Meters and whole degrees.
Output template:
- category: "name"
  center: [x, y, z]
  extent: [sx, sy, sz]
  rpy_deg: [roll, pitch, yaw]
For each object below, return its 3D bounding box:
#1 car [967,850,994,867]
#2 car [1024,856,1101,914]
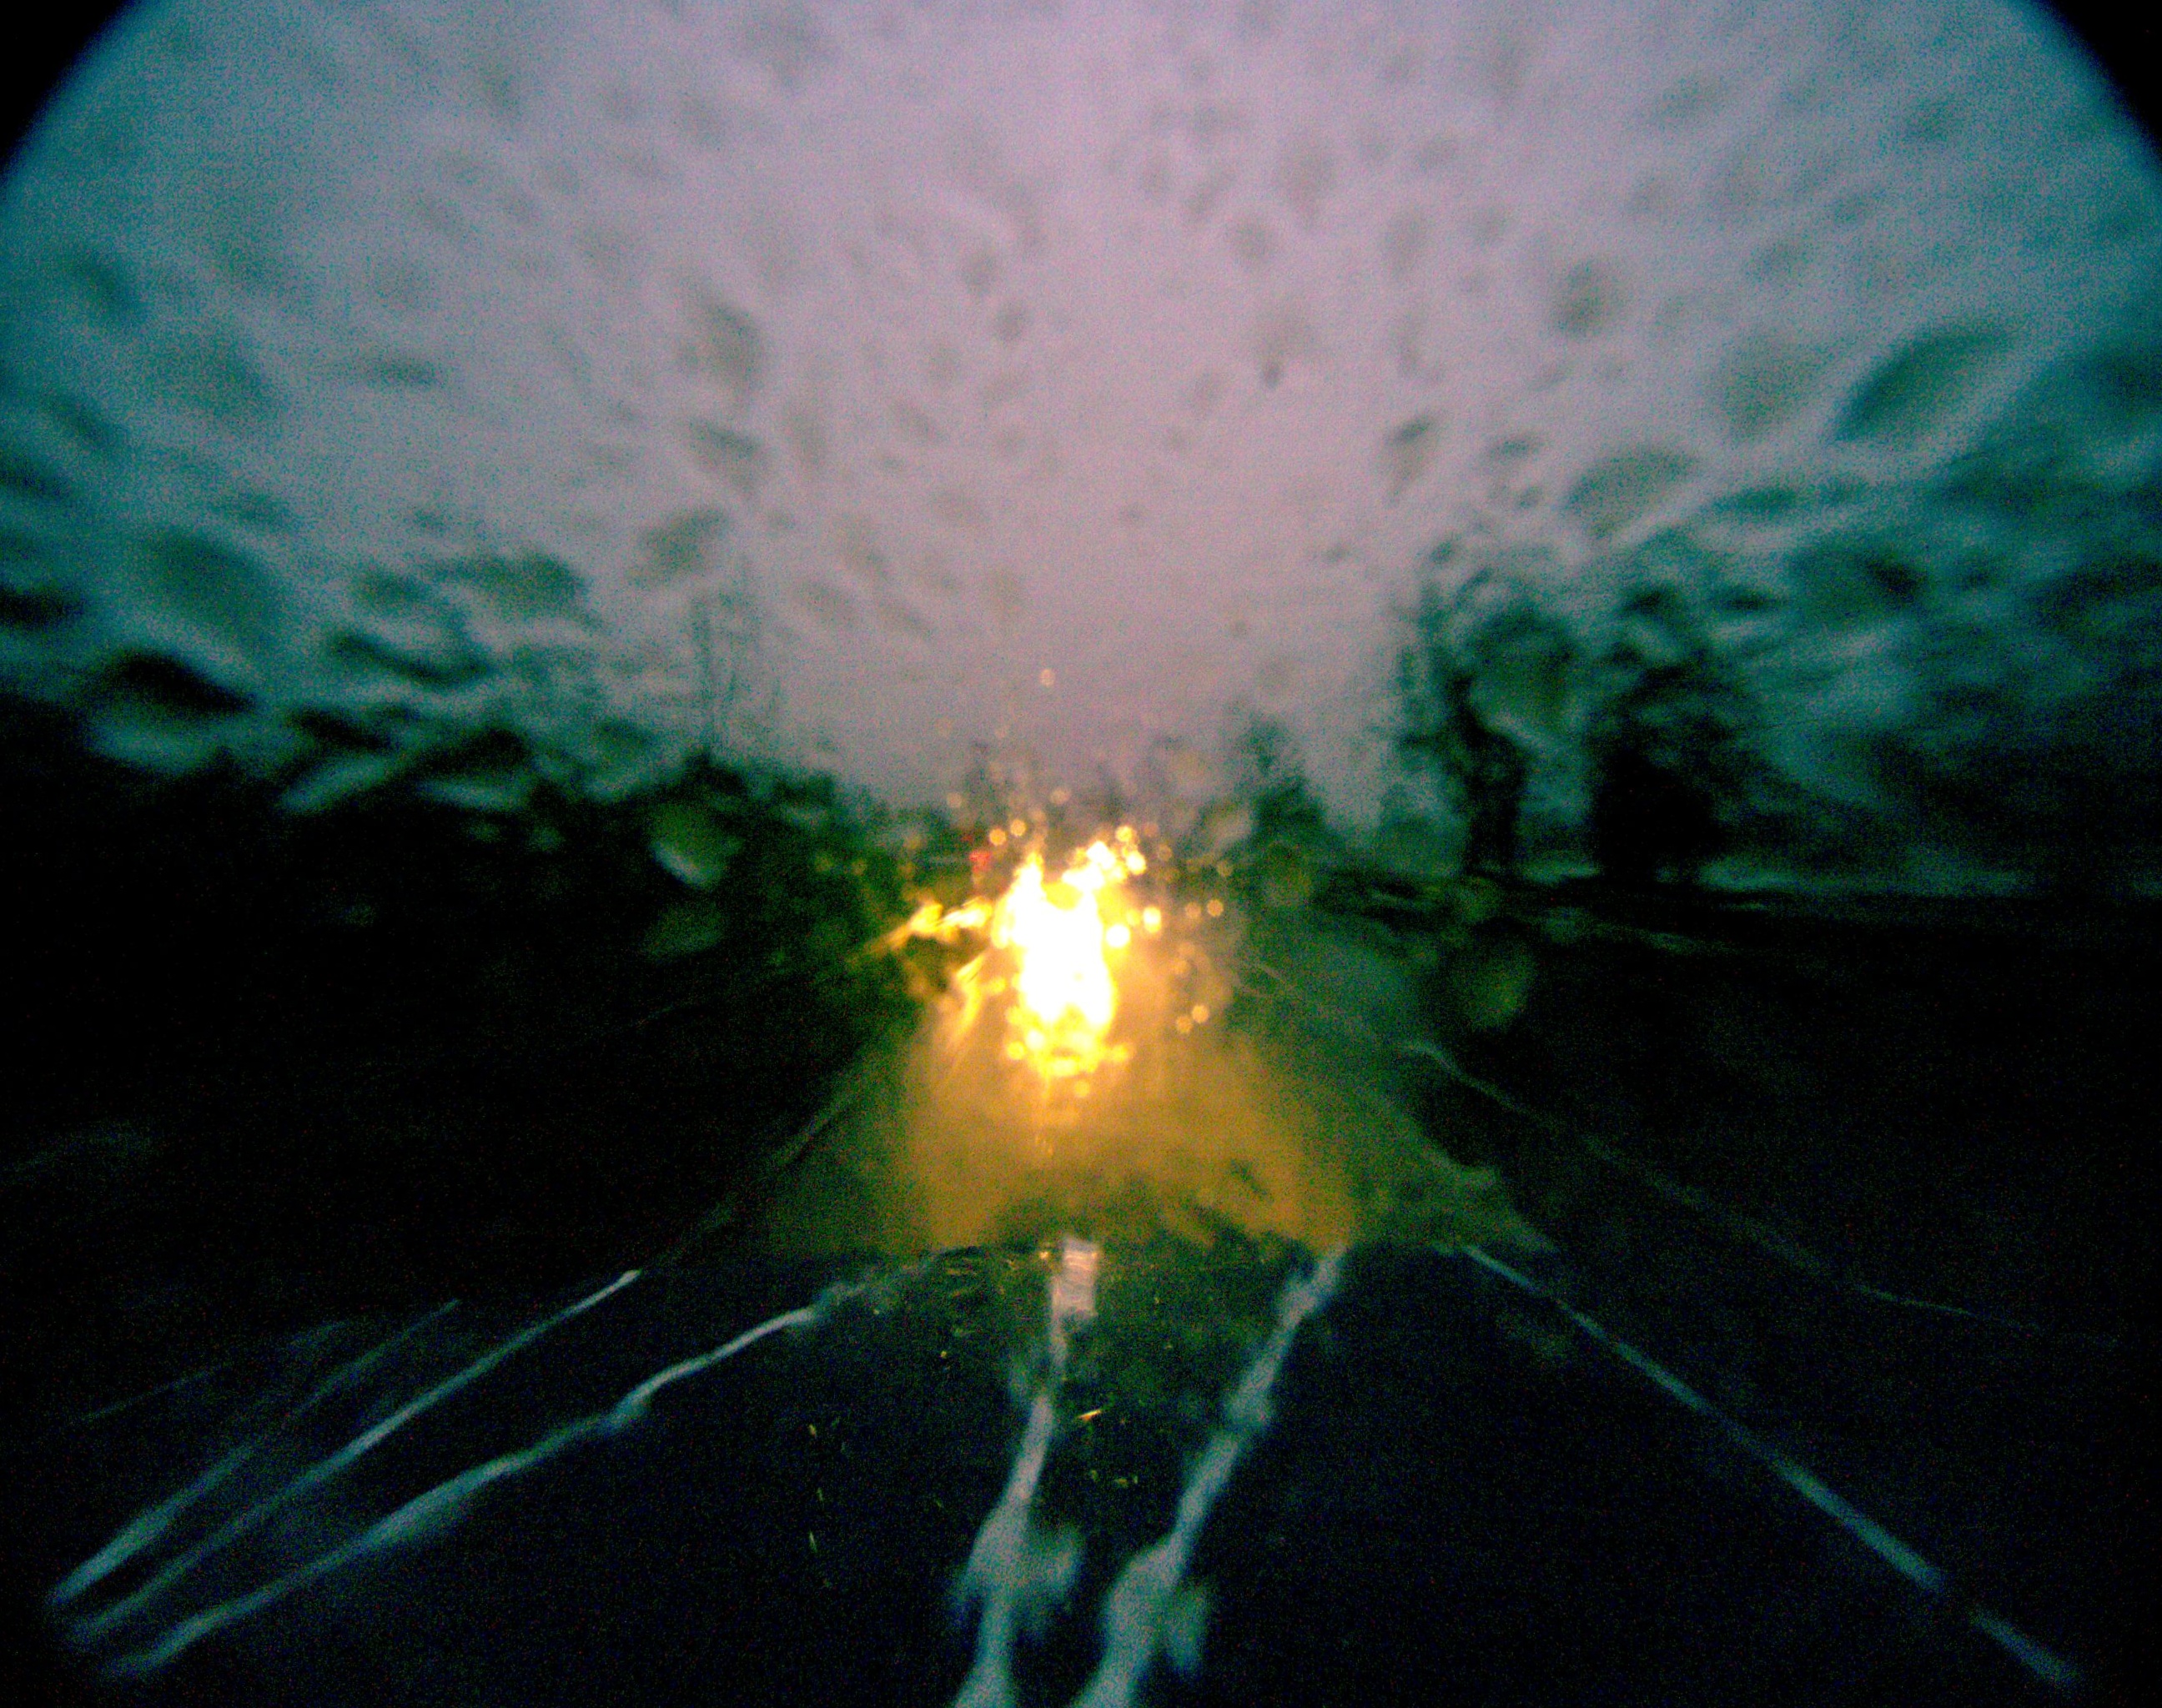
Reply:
- category: "car"
  center: [-11.285, 0.498, 85.236]
  extent: [2.001, 1.612, 4.590]
  rpy_deg: [-7, 3, -18]
- category: "car"
  center: [-0.708, 0.924, 24.727]
  extent: [2.103, 1.566, 4.796]
  rpy_deg: [-2, 1, -6]
